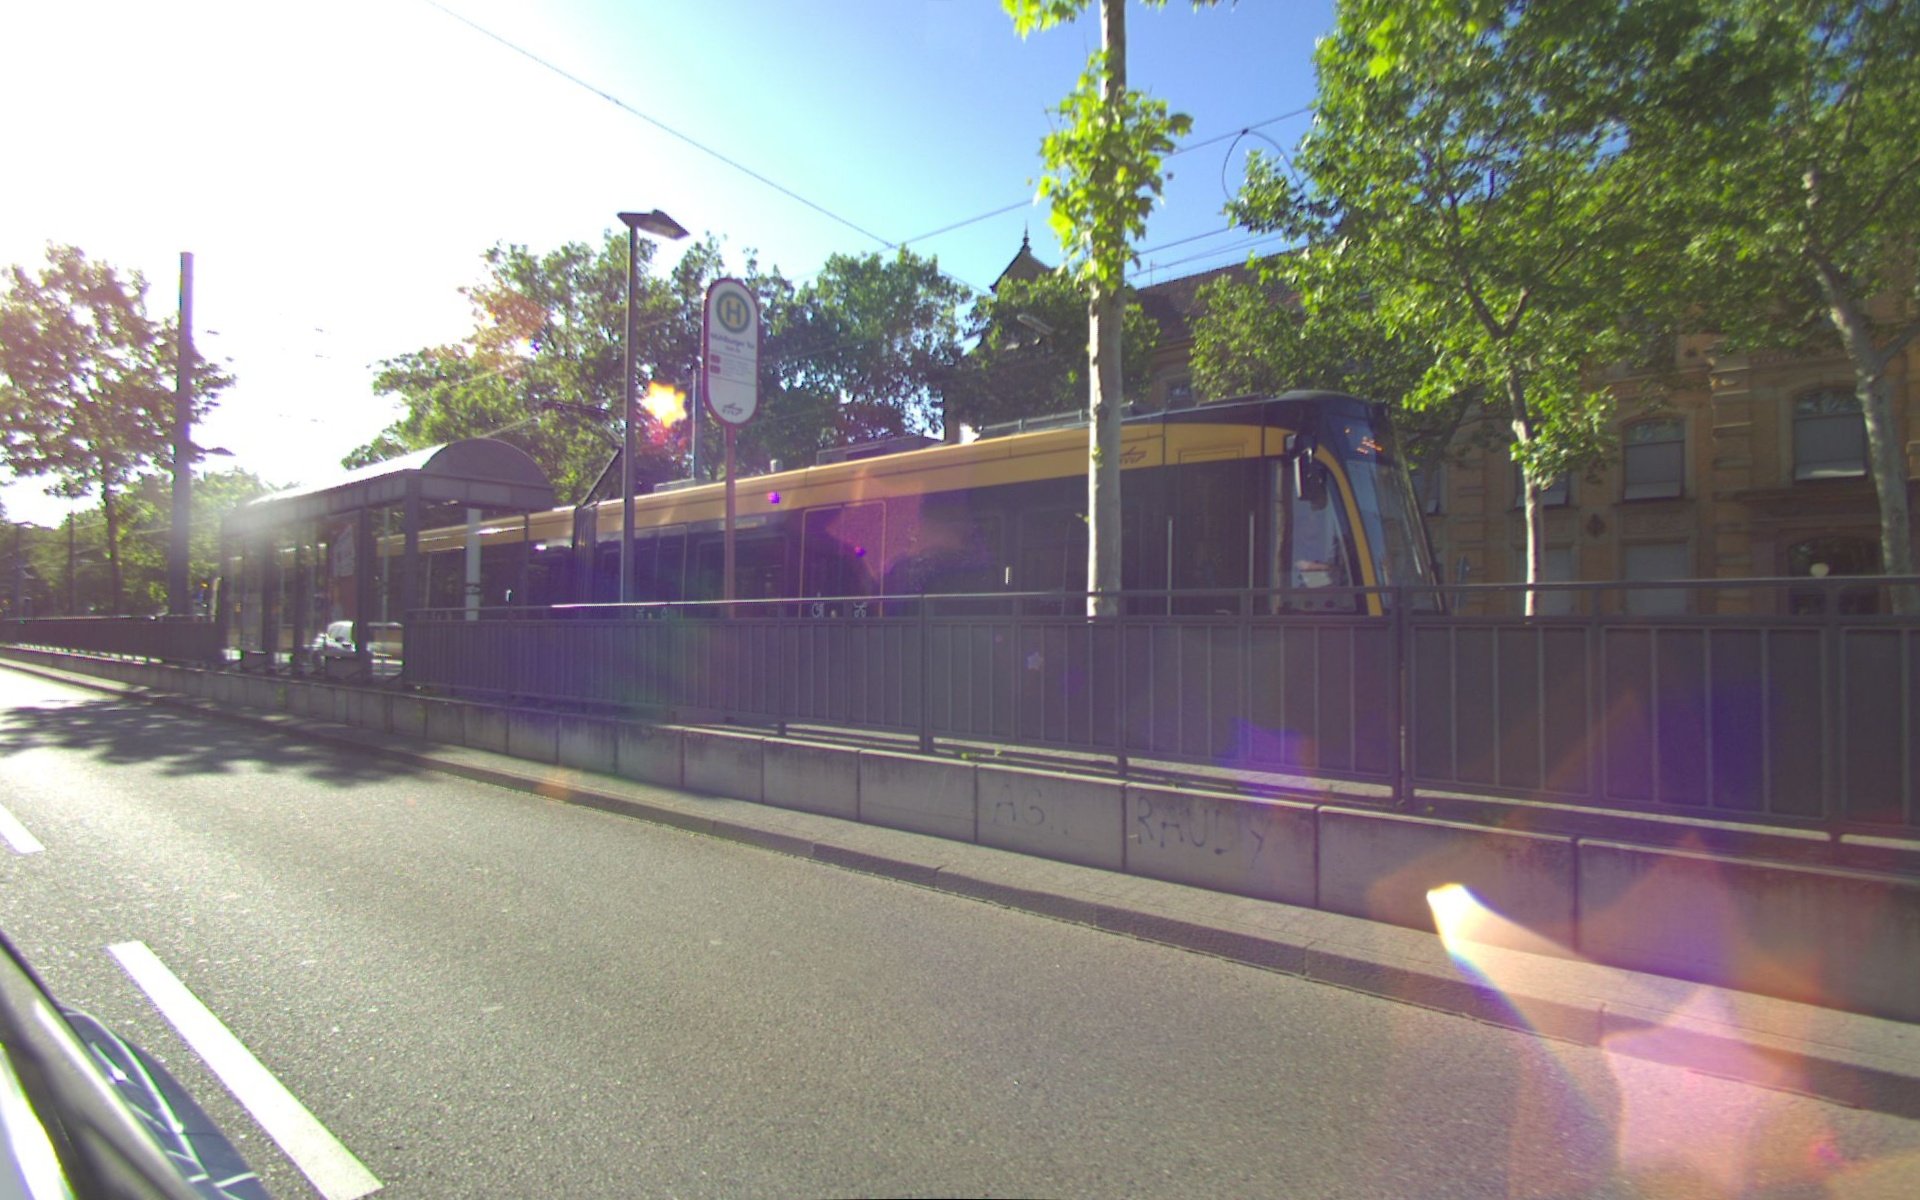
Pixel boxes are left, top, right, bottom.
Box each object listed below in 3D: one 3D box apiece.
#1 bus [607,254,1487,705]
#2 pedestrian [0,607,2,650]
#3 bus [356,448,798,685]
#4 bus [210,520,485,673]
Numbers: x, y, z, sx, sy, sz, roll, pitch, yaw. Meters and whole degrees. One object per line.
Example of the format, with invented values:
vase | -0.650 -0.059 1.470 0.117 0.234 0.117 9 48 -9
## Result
bus | -0.145 -0.738 12.692 11.607 3.470 2.838 -2 -3 42
pedestrian | -43.219 1.267 45.222 0.583 1.917 0.447 -1 -3 34
bus | -8.177 -0.286 19.894 12.210 3.470 2.838 -2 -3 42
bus | -17.604 0.133 28.371 13.212 3.470 2.838 -2 -3 42
